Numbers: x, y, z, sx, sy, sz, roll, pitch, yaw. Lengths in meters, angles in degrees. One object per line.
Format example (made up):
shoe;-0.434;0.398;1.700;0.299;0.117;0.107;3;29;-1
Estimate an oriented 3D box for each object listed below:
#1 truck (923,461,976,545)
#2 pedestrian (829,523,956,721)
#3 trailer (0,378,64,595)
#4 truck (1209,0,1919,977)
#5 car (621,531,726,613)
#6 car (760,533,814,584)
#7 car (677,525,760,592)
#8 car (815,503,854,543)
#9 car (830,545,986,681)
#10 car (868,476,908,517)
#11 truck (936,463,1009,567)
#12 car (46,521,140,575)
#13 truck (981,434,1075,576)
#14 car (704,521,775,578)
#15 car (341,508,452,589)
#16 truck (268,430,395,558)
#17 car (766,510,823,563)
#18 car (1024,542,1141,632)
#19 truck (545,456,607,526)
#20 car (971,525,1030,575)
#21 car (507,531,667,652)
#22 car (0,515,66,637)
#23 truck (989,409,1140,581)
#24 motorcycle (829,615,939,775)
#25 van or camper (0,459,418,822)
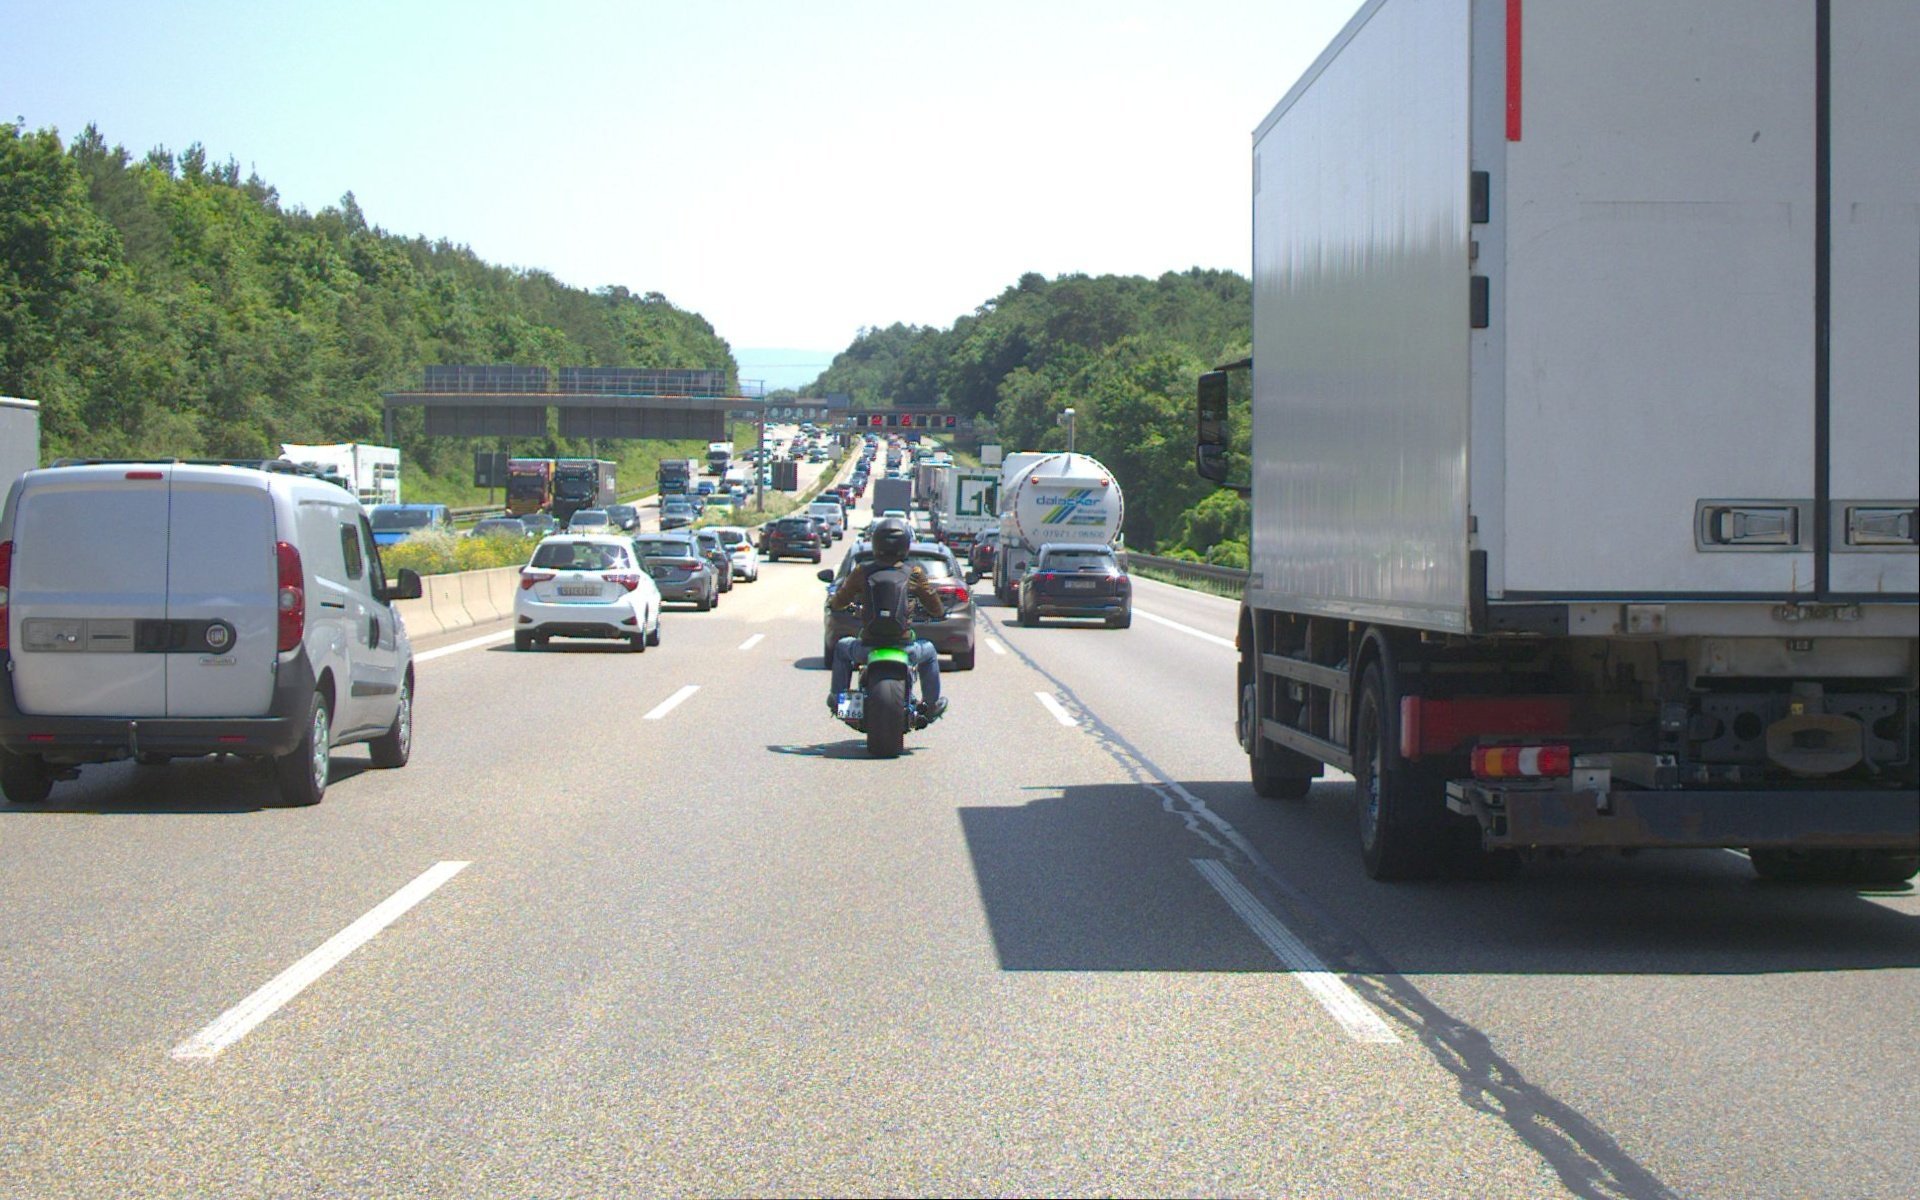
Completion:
truck;-0.710;-6.200;220.660;3.033;5.121;9.983;2;1;-1
pedestrian;-0.467;0.144;24.245;0.849;1.357;0.961;-1;1;0
trailer;-19.799;-2.137;63.336;2.835;4.151;14.739;-1;1;-1
truck;3.033;-0.698;17.205;2.688;3.863;9.781;-1;1;0
car;-5.423;-0.560;65.486;1.699;1.473;4.000;1;1;-1
car;-7.025;-1.683;140.212;1.993;2.007;4.000;-1;0;0
car;-5.656;-0.995;80.878;1.699;1.473;4.000;1;1;-1
car;-6.674;-4.083;182.827;1.929;2.007;4.000;-1;0;0
car;-0.571;0.115;40.969;1.533;1.504;4.000;-1;1;4
car;-4.669;-6.709;223.392;2.504;2.578;5.017;1;1;-1
truck;0.528;-3.928;158.784;3.033;4.526;9.983;2;1;-1
car;-24.369;-1.465;96.762;1.666;1.461;4.190;0;1;-1
truck;1.710;-2.374;87.600;1.993;3.510;4.752;-1;0;-3
car;-5.944;-1.382;92.973;1.699;1.473;4.000;1;1;-1
car;-13.468;-1.215;82.431;1.911;1.841;5.036;-1;1;-1
truck;-21.223;-3.517;116.529;2.803;4.151;7.600;0;0;1
car;-6.017;-2.314;125.050;1.880;1.853;4.000;2;1;-1
car;2.142;-0.259;61.017;1.828;1.465;4.000;2;1;-1
truck;-22.829;-6.457;204.786;2.906;3.960;7.770;-1;0;-1
car;1.292;-1.638;111.182;1.787;1.550;3.804;1;1;-1
car;-4.850;-0.145;45.101;1.699;1.473;4.000;1;1;-1
car;-16.285;-0.384;56.613;1.993;1.943;4.749;-1;0;-2
truck;2.286;-2.307;78.641;2.988;3.659;9.288;-1;1;-1
motorcycle;-0.520;0.645;24.271;0.691;1.012;2.121;2;1;0
van or camper;-4.400;0.196;20.323;1.796;1.886;4.160;1;0;-2
